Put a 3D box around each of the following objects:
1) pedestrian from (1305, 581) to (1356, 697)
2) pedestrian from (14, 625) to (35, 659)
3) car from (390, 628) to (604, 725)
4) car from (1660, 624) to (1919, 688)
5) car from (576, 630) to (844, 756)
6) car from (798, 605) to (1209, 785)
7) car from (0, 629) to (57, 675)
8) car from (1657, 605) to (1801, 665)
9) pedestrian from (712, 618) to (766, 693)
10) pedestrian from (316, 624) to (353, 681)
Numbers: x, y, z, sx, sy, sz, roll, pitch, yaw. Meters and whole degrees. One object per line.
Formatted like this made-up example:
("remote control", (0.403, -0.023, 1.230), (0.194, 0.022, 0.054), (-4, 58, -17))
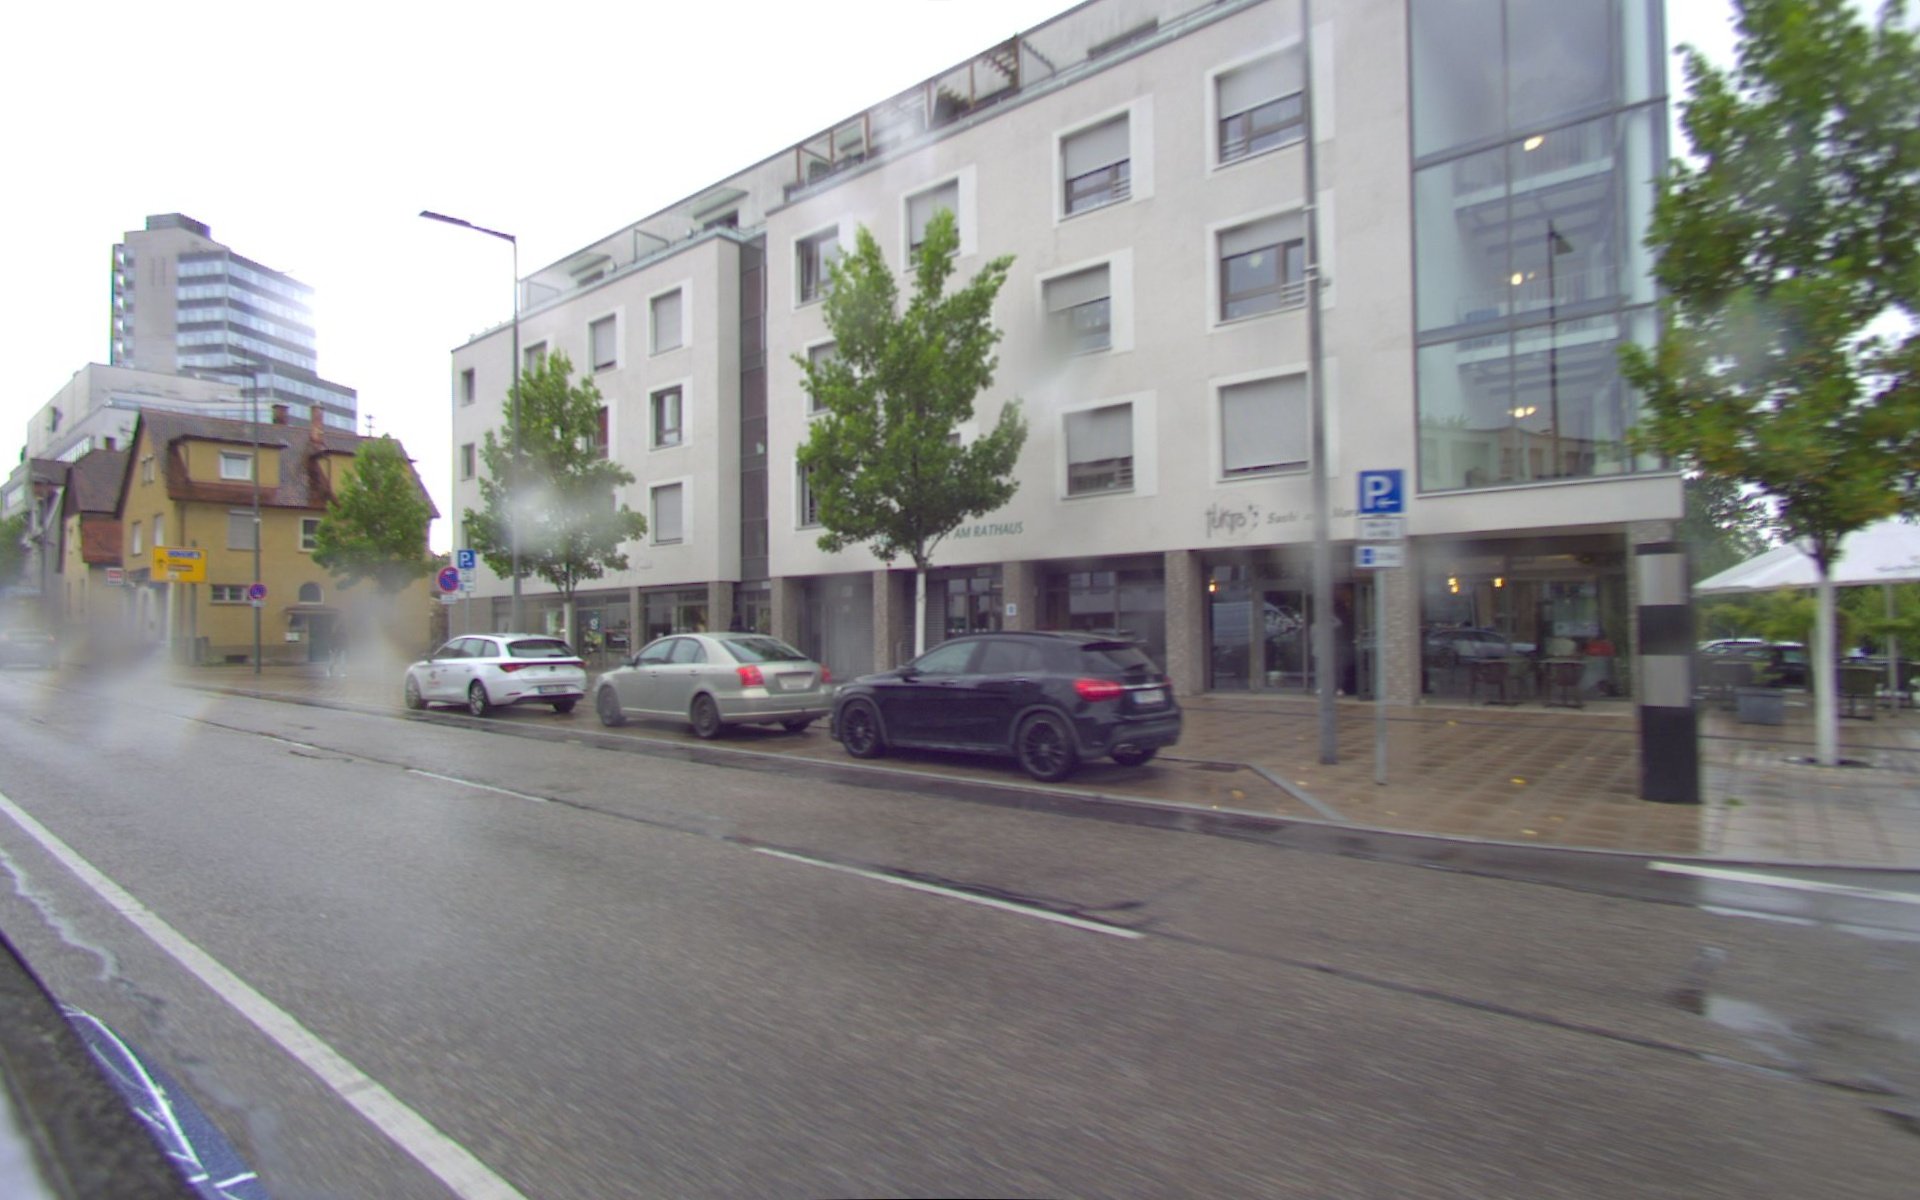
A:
("pedestrian", (7.032, 0.725, 19.243), (0.741, 2.161, 0.769), (0, 0, 7))
("pedestrian", (-54.111, 2.415, 58.557), (0.944, 1.935, 0.656), (0, 1, 33))
("car", (-8.622, 1.308, 18.678), (4.473, 1.474, 1.778), (0, -1, 39))
("car", (19.450, 1.280, 23.972), (4.445, 1.305, 1.779), (1, -1, 25))
("car", (-3.877, 1.266, 15.191), (4.578, 1.521, 1.672), (0, -2, 43))
("car", (0.299, 0.917, 11.043), (4.467, 1.594, 1.571), (-2, -3, 41))
("car", (-35.274, 1.905, 37.702), (4.181, 1.535, 1.861), (0, -2, 40))
("car", (24.697, 1.109, 32.631), (3.439, 1.790, 1.478), (1, -1, 25))
("pedestrian", (-5.335, 1.313, 24.447), (1.002, 1.751, 0.800), (0, -2, 40))
("pedestrian", (-20.378, 1.705, 32.956), (0.882, 1.801, 0.791), (0, -2, 44))
